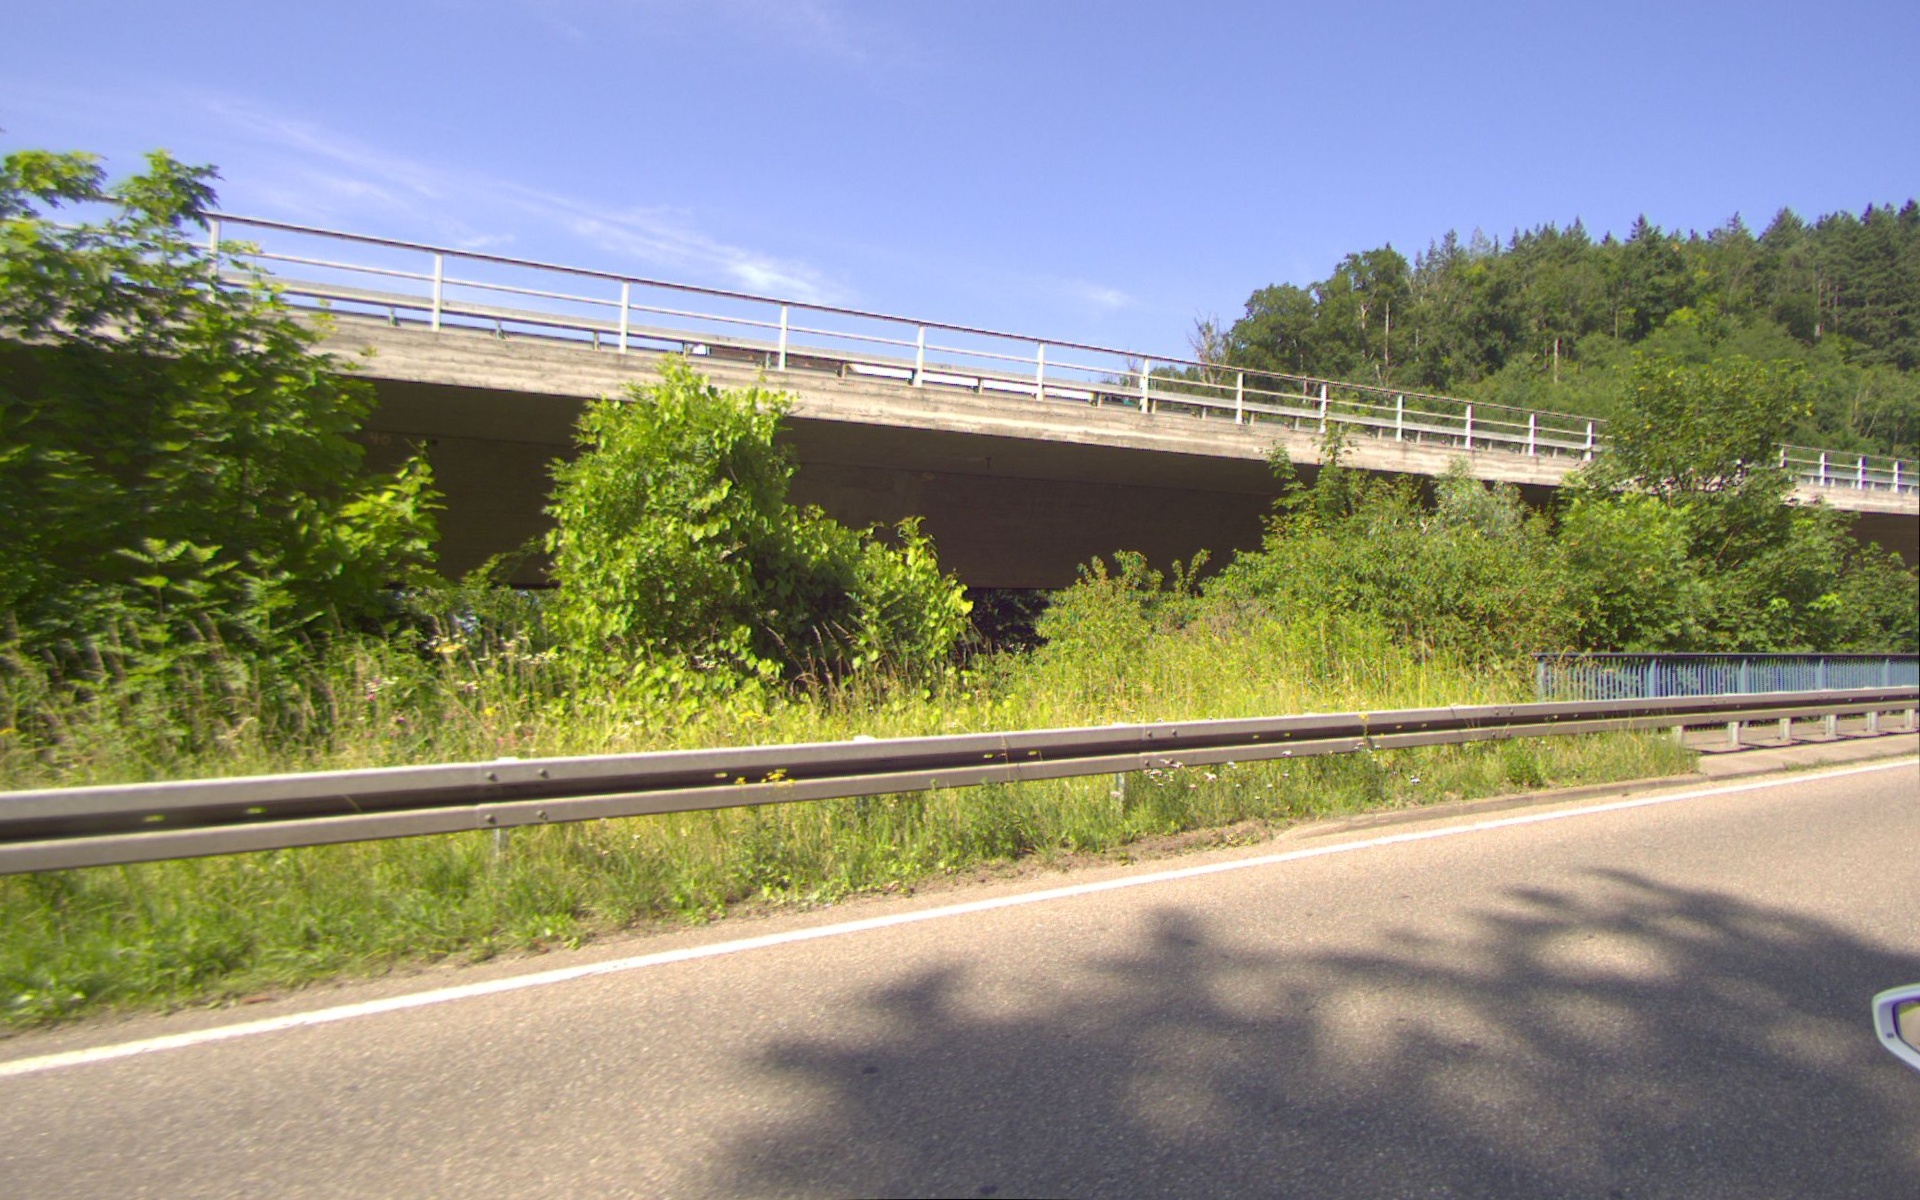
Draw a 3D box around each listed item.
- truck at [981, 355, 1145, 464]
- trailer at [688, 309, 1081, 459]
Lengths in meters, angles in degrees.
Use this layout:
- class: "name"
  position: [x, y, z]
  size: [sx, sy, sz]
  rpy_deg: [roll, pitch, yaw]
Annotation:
- class: "truck"
  position: [3.648, -6.555, 35.307]
  size: [5.400, 2.917, 2.384]
  rpy_deg: [0, 1, -30]
- class: "trailer"
  position: [-1.991, -6.583, 32.093]
  size: [12.786, 2.917, 2.384]
  rpy_deg: [0, 1, -30]
